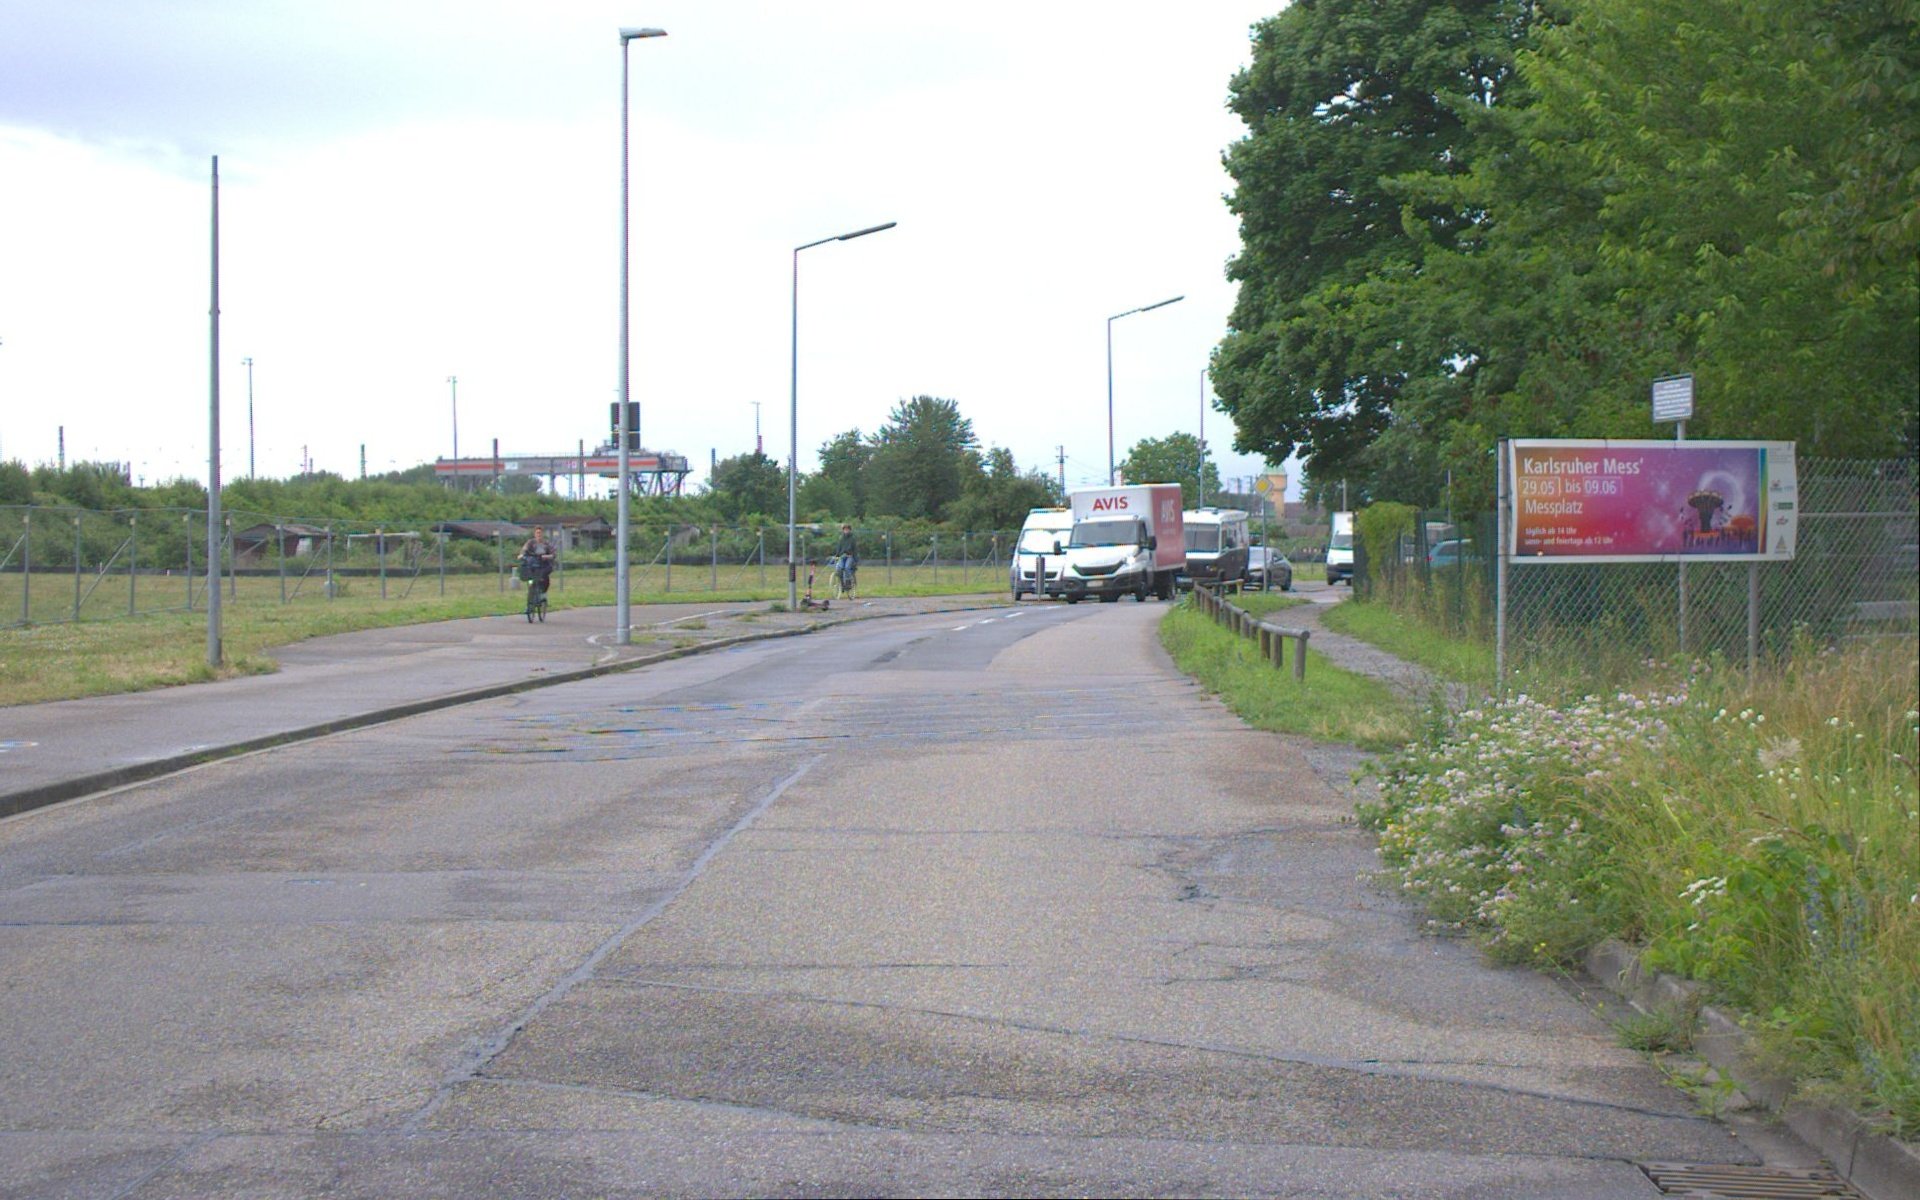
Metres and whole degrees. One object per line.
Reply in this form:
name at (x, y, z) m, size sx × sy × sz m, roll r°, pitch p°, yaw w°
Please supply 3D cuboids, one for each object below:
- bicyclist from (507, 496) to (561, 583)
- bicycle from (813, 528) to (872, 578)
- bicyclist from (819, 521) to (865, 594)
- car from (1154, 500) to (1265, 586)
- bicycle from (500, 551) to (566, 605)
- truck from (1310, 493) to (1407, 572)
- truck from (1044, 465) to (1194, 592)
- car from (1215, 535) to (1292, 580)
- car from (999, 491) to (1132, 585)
bicyclist at (-7.528, -1.070, 60.764) m, size 0.782 × 1.521 × 1.094 m, roll 0°, pitch 2°, yaw 2°
bicycle at (-2.958, -1.200, 87.009) m, size 0.819 × 1.200 × 2.555 m, roll 0°, pitch 2°, yaw 14°
bicyclist at (-2.976, -1.078, 86.937) m, size 0.828 × 1.815 × 1.329 m, roll 0°, pitch 2°, yaw 14°
car at (8.191, -1.913, 112.413) m, size 2.302 × 2.725 × 6.087 m, roll 0°, pitch 2°, yaw 17°
bicycle at (-7.534, -0.393, 60.795) m, size 0.803 × 0.904 × 2.232 m, roll 0°, pitch 2°, yaw 2°
truck at (16.109, -2.747, 138.651) m, size 2.464 × 3.050 × 8.156 m, roll 0°, pitch 1°, yaw 17°
truck at (4.191, -1.868, 88.930) m, size 2.342 × 3.051 × 7.492 m, roll -2°, pitch 1°, yaw 14°
car at (10.174, -1.492, 118.920) m, size 1.781 × 1.499 × 3.997 m, roll 0°, pitch 2°, yaw 19°
car at (3.024, -1.776, 96.545) m, size 2.290 × 2.547 × 6.406 m, roll 0°, pitch 1°, yaw 15°
